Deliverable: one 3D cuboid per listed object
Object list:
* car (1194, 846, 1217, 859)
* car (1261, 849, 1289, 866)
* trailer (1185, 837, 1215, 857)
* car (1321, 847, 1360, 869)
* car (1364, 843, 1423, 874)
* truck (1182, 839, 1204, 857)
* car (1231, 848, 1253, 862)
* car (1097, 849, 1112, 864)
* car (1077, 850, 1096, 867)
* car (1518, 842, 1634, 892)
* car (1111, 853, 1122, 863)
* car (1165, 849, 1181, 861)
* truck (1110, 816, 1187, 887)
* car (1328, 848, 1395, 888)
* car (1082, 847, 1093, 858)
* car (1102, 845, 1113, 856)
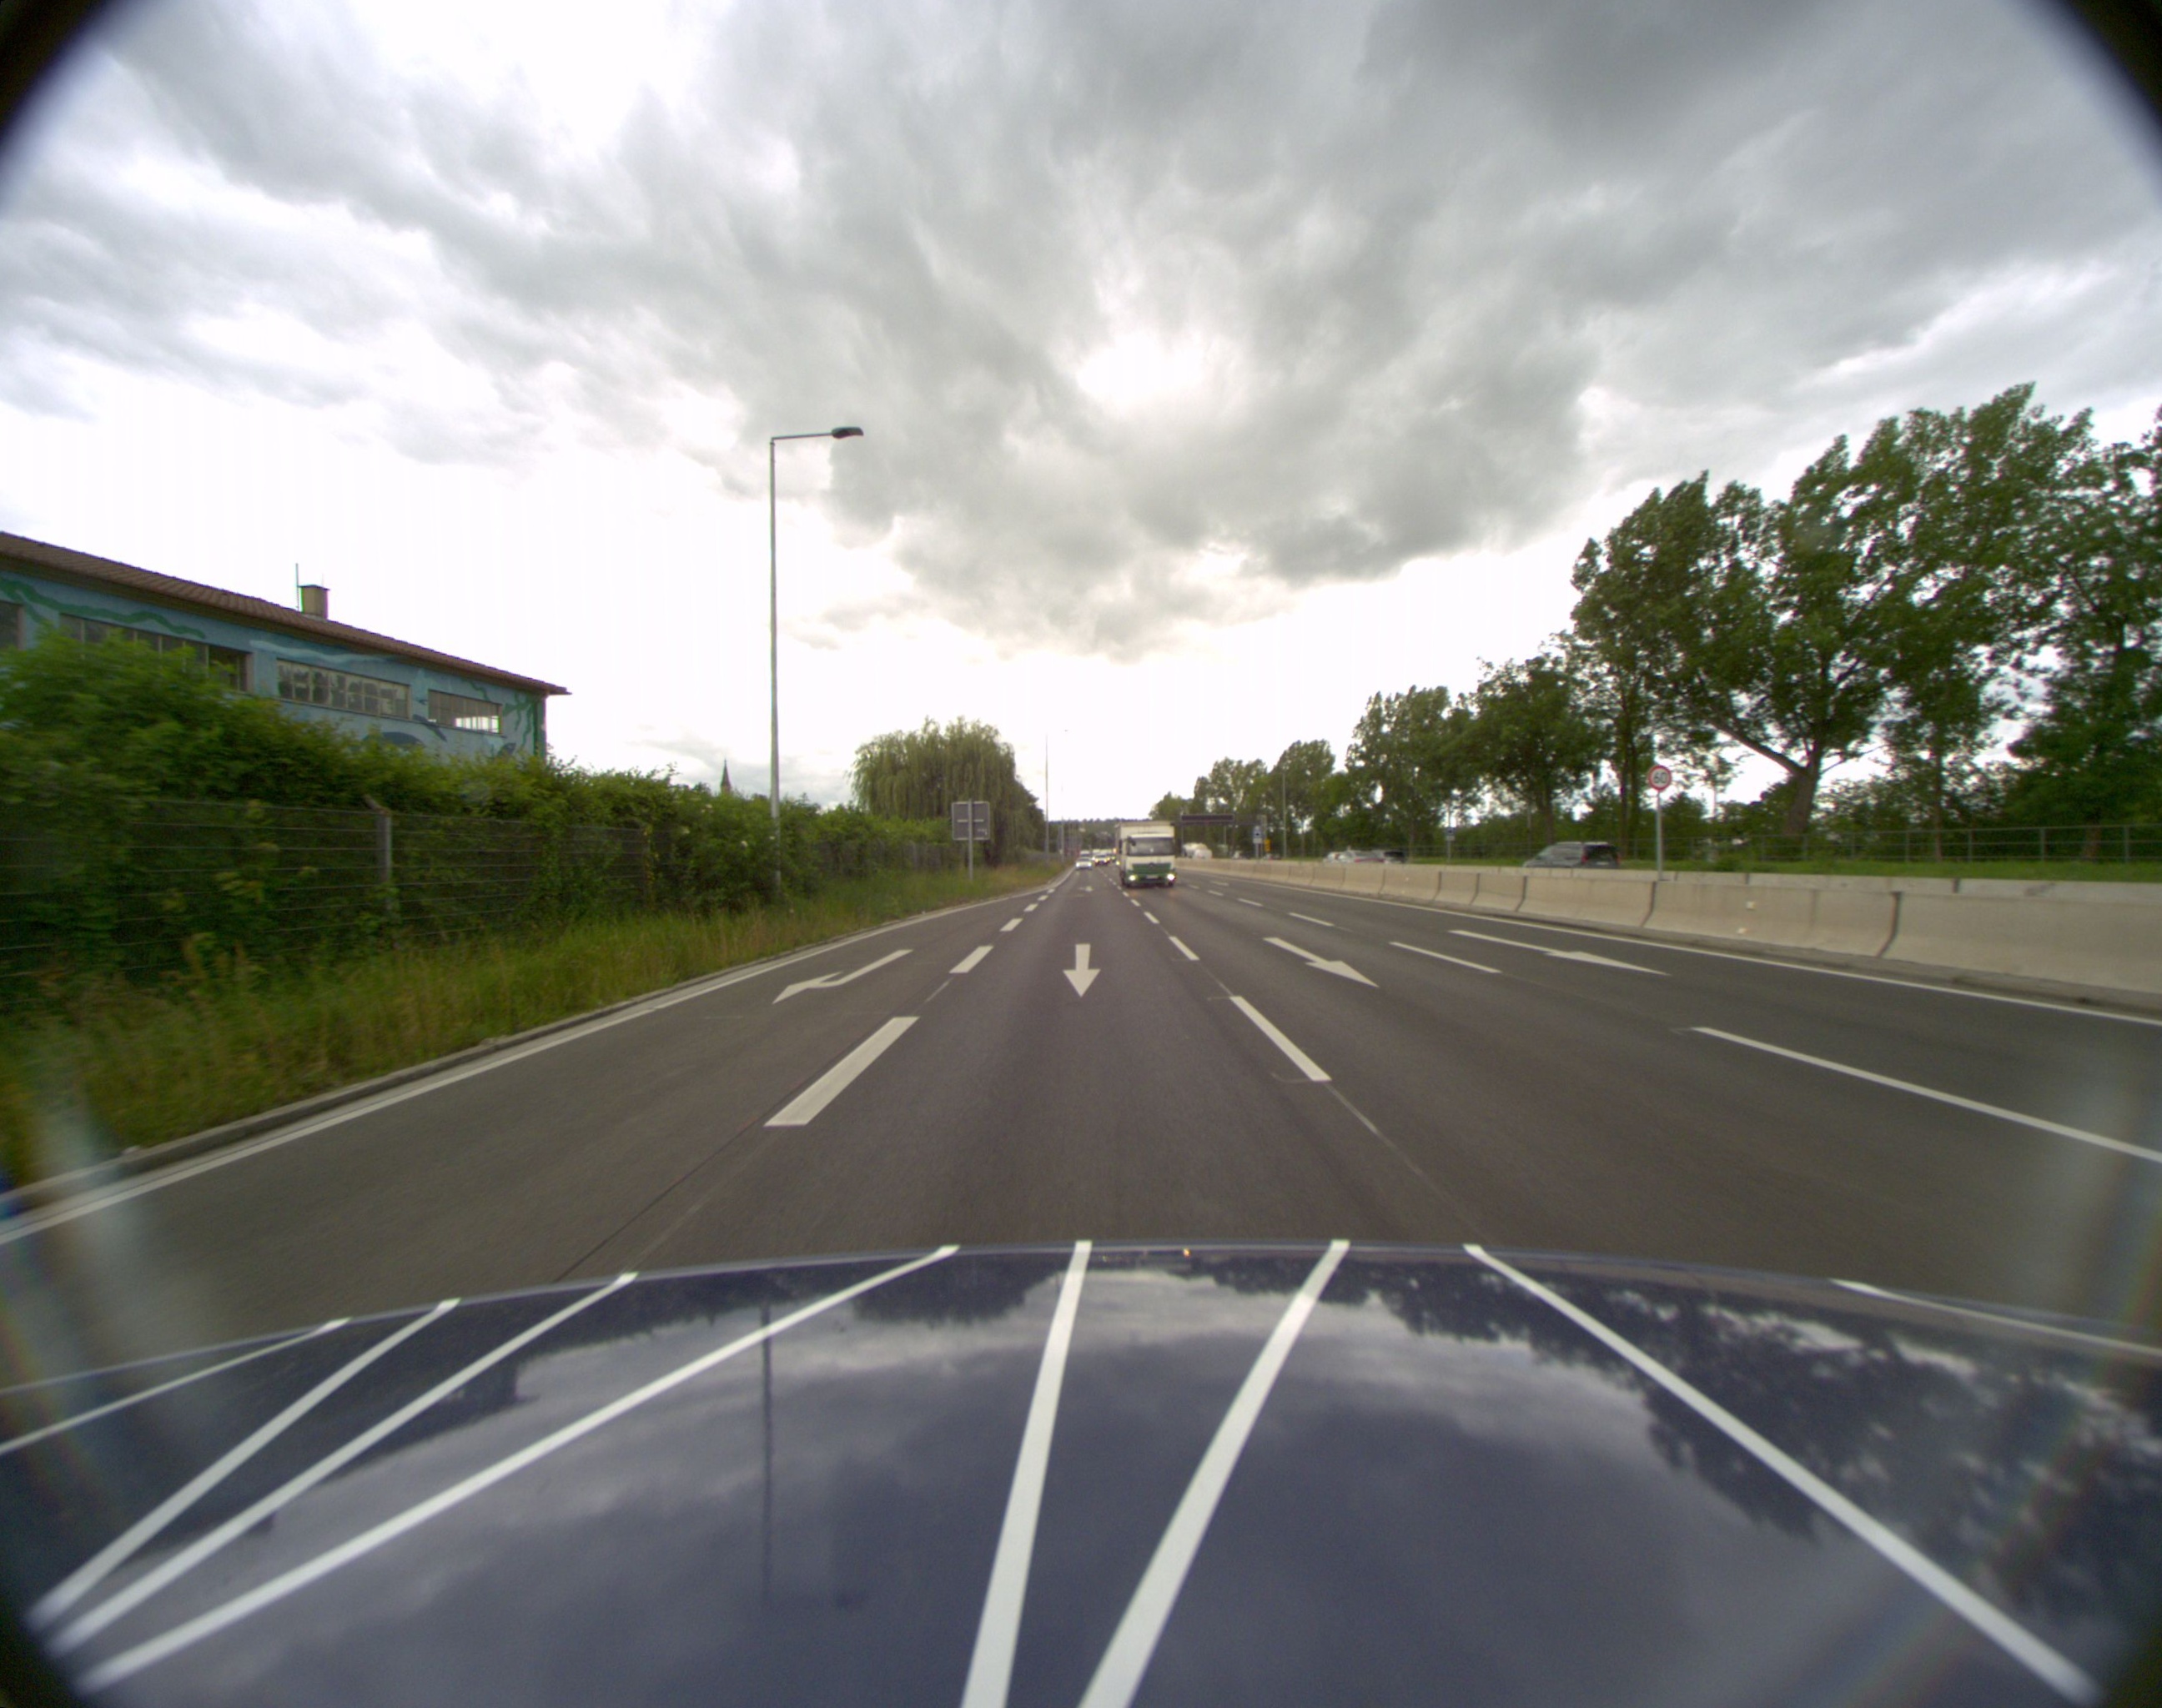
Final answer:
[{"bbox_3d":[15.793,-0.171,96.364,1.999,1.550,4.885,-3,0,-1],"label":"car"},{"bbox_3d":[22.042,0.415,86.528,1.998,1.728,4.470,-3,0,1],"label":"car"},{"bbox_3d":[21.222,-1.152,136.697,3.109,3.201,11.666,-3,0,-2],"label":"trailer"},{"bbox_3d":[21.971,0.312,64.437,1.882,1.673,4.122,-3,0,1],"label":"car"},{"bbox_3d":[18.937,0.268,46.245,1.882,1.673,4.126,-3,0,1],"label":"car"},{"bbox_3d":[21.071,-1.126,142.940,3.106,3.200,5.391,-3,0,-1],"label":"truck"},{"bbox_3d":[21.176,0.164,99.884,1.998,1.728,4.304,-3,0,1],"label":"car"},{"bbox_3d":[3.550,0.380,114.131,1.998,2.002,4.000,-3,0,0],"label":"car"},{"bbox_3d":[0.659,0.481,89.288,1.998,1.849,4.000,-3,0,0],"label":"car"},{"bbox_3d":[22.339,0.538,34.573,1.998,2.002,4.937,-3,0,1],"label":"car"},{"bbox_3d":[7.485,0.807,159.671,1.998,2.002,4.000,-3,0,1],"label":"car"},{"bbox_3d":[14.869,0.119,122.714,1.998,1.728,4.000,-3,0,1],"label":"car"},{"bbox_3d":[3.214,-0.096,38.420,2.943,3.064,8.387,-3,0,0],"label":"truck"},{"bbox_3d":[15.556,0.743,42.461,1.998,2.002,4.681,-3,0,1],"label":"car"},{"bbox_3d":[1.282,-0.283,148.114,1.998,2.002,4.000,-3,0,0],"label":"car"},{"bbox_3d":[5.005,-0.713,144.130,1.998,2.002,4.000,-3,0,0],"label":"car"}]
